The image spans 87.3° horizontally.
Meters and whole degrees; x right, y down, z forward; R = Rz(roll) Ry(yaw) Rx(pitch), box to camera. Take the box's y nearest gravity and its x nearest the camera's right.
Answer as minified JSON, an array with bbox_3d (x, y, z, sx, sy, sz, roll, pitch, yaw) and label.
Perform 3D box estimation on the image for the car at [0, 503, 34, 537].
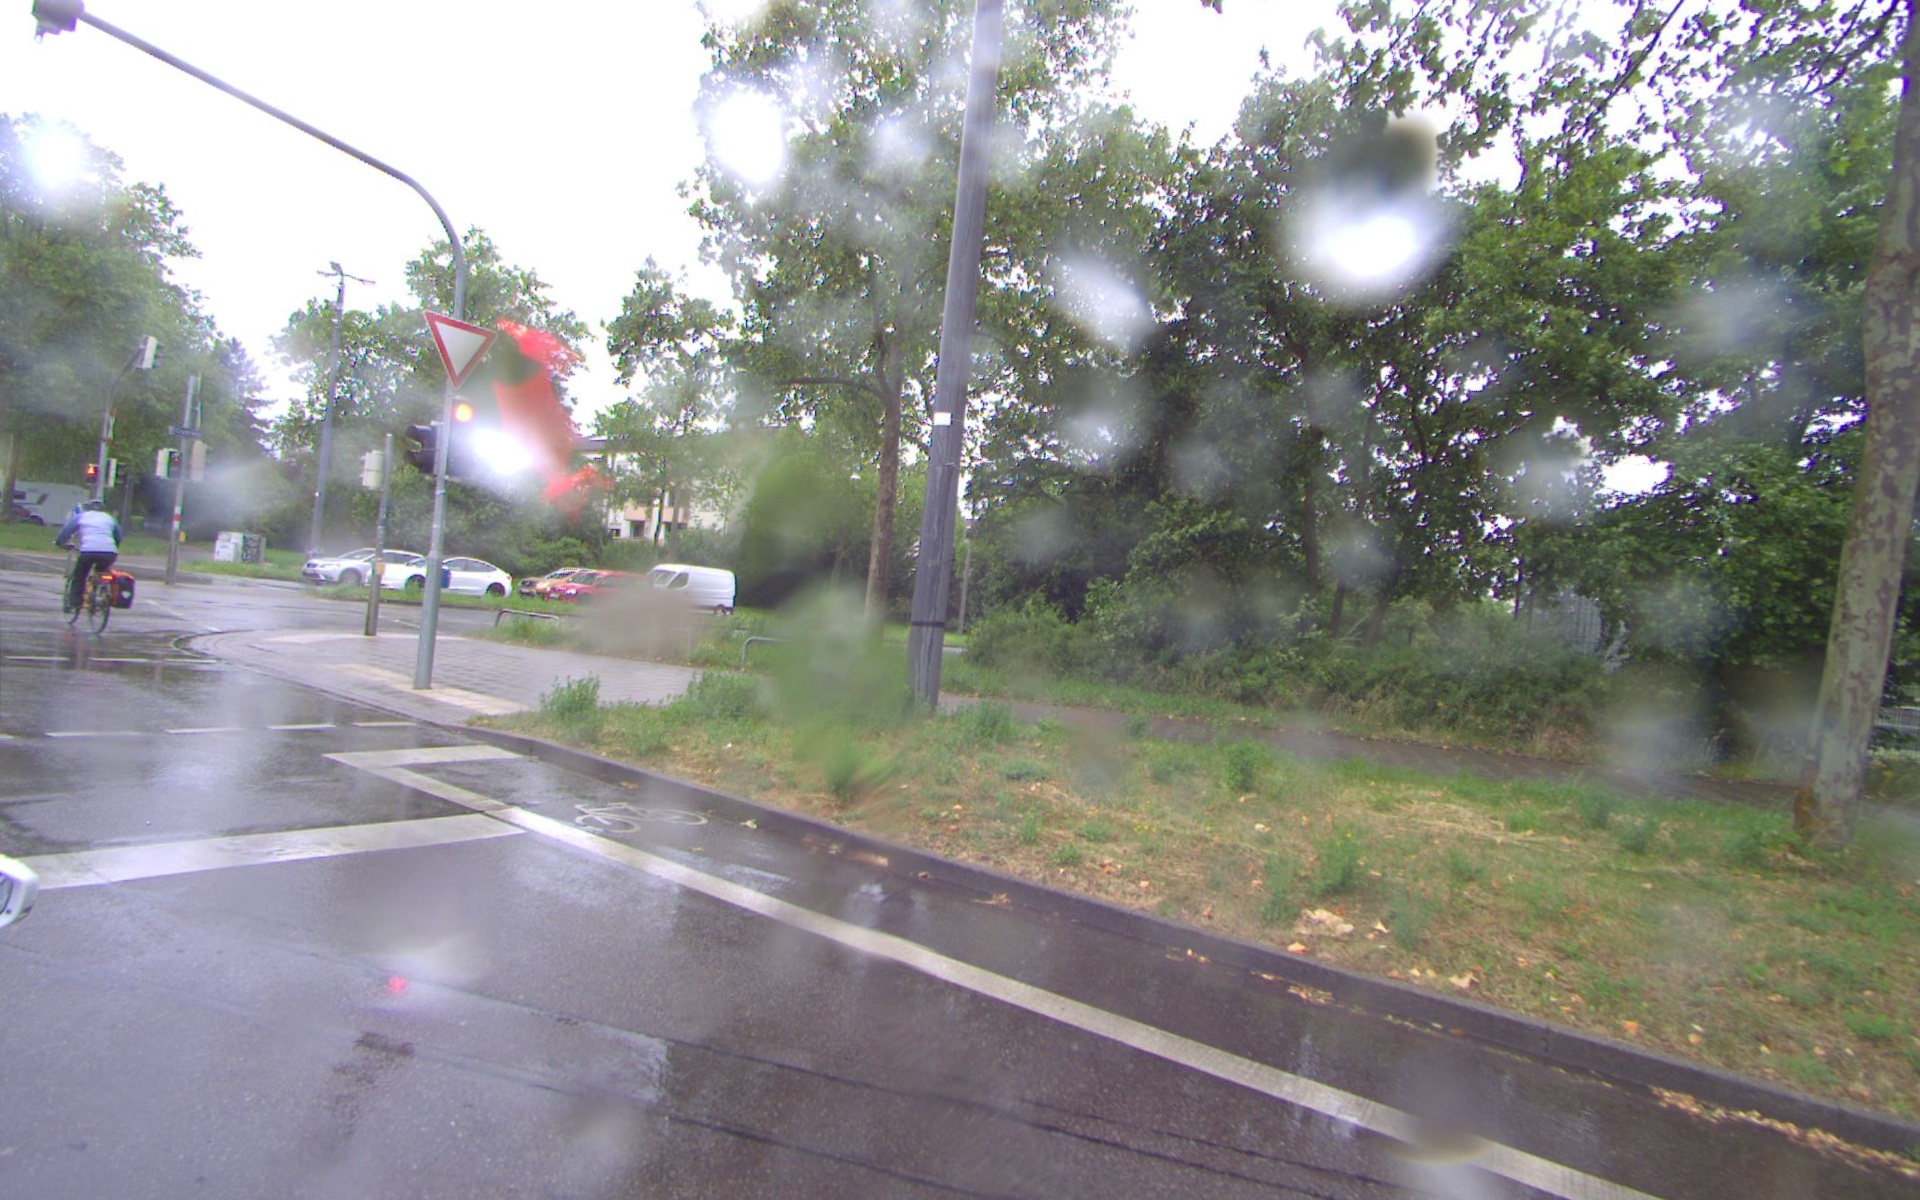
[{"bbox_3d":[-55.806,-4.794,57.110,4.423,1.736,1.980,9,-2,-37],"label":"car"}]

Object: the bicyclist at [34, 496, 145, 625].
[{"bbox_3d":[-11.079,-0.498,12.808,0.830,1.523,0.692,6,-1,29],"label":"bicyclist"}]

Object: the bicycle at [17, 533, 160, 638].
[{"bbox_3d":[-11.105,-0.194,12.803,1.853,1.130,0.692,6,-2,29],"label":"bicycle"}]

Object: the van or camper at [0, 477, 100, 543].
[{"bbox_3d":[-56.847,-5.603,60.666,7.296,3.214,3.227,9,-3,-40],"label":"van or camper"}]

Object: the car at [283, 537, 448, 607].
[{"bbox_3d":[-20.166,-0.907,34.336,1.900,1.710,4.407,6,-2,26],"label":"car"}]

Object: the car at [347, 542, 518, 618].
[{"bbox_3d":[-17.135,-0.596,32.946,1.900,1.849,4.608,6,-2,26],"label":"car"}]

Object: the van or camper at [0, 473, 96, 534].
[{"bbox_3d":[-63.129,-6.661,67.435,7.388,3.215,3.231,9,-2,-36],"label":"van or camper"}]

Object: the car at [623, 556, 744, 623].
[{"bbox_3d":[-12.960,-0.417,47.570,1.966,2.419,5.619,6,-2,29],"label":"car"}]

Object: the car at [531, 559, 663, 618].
[{"bbox_3d":[-13.814,-0.413,38.594,1.760,1.625,4.615,6,-2,29],"label":"car"}]

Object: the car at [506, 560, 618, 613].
[{"bbox_3d":[-16.369,-0.523,41.552,1.759,1.625,4.069,6,-2,26],"label":"car"}]
